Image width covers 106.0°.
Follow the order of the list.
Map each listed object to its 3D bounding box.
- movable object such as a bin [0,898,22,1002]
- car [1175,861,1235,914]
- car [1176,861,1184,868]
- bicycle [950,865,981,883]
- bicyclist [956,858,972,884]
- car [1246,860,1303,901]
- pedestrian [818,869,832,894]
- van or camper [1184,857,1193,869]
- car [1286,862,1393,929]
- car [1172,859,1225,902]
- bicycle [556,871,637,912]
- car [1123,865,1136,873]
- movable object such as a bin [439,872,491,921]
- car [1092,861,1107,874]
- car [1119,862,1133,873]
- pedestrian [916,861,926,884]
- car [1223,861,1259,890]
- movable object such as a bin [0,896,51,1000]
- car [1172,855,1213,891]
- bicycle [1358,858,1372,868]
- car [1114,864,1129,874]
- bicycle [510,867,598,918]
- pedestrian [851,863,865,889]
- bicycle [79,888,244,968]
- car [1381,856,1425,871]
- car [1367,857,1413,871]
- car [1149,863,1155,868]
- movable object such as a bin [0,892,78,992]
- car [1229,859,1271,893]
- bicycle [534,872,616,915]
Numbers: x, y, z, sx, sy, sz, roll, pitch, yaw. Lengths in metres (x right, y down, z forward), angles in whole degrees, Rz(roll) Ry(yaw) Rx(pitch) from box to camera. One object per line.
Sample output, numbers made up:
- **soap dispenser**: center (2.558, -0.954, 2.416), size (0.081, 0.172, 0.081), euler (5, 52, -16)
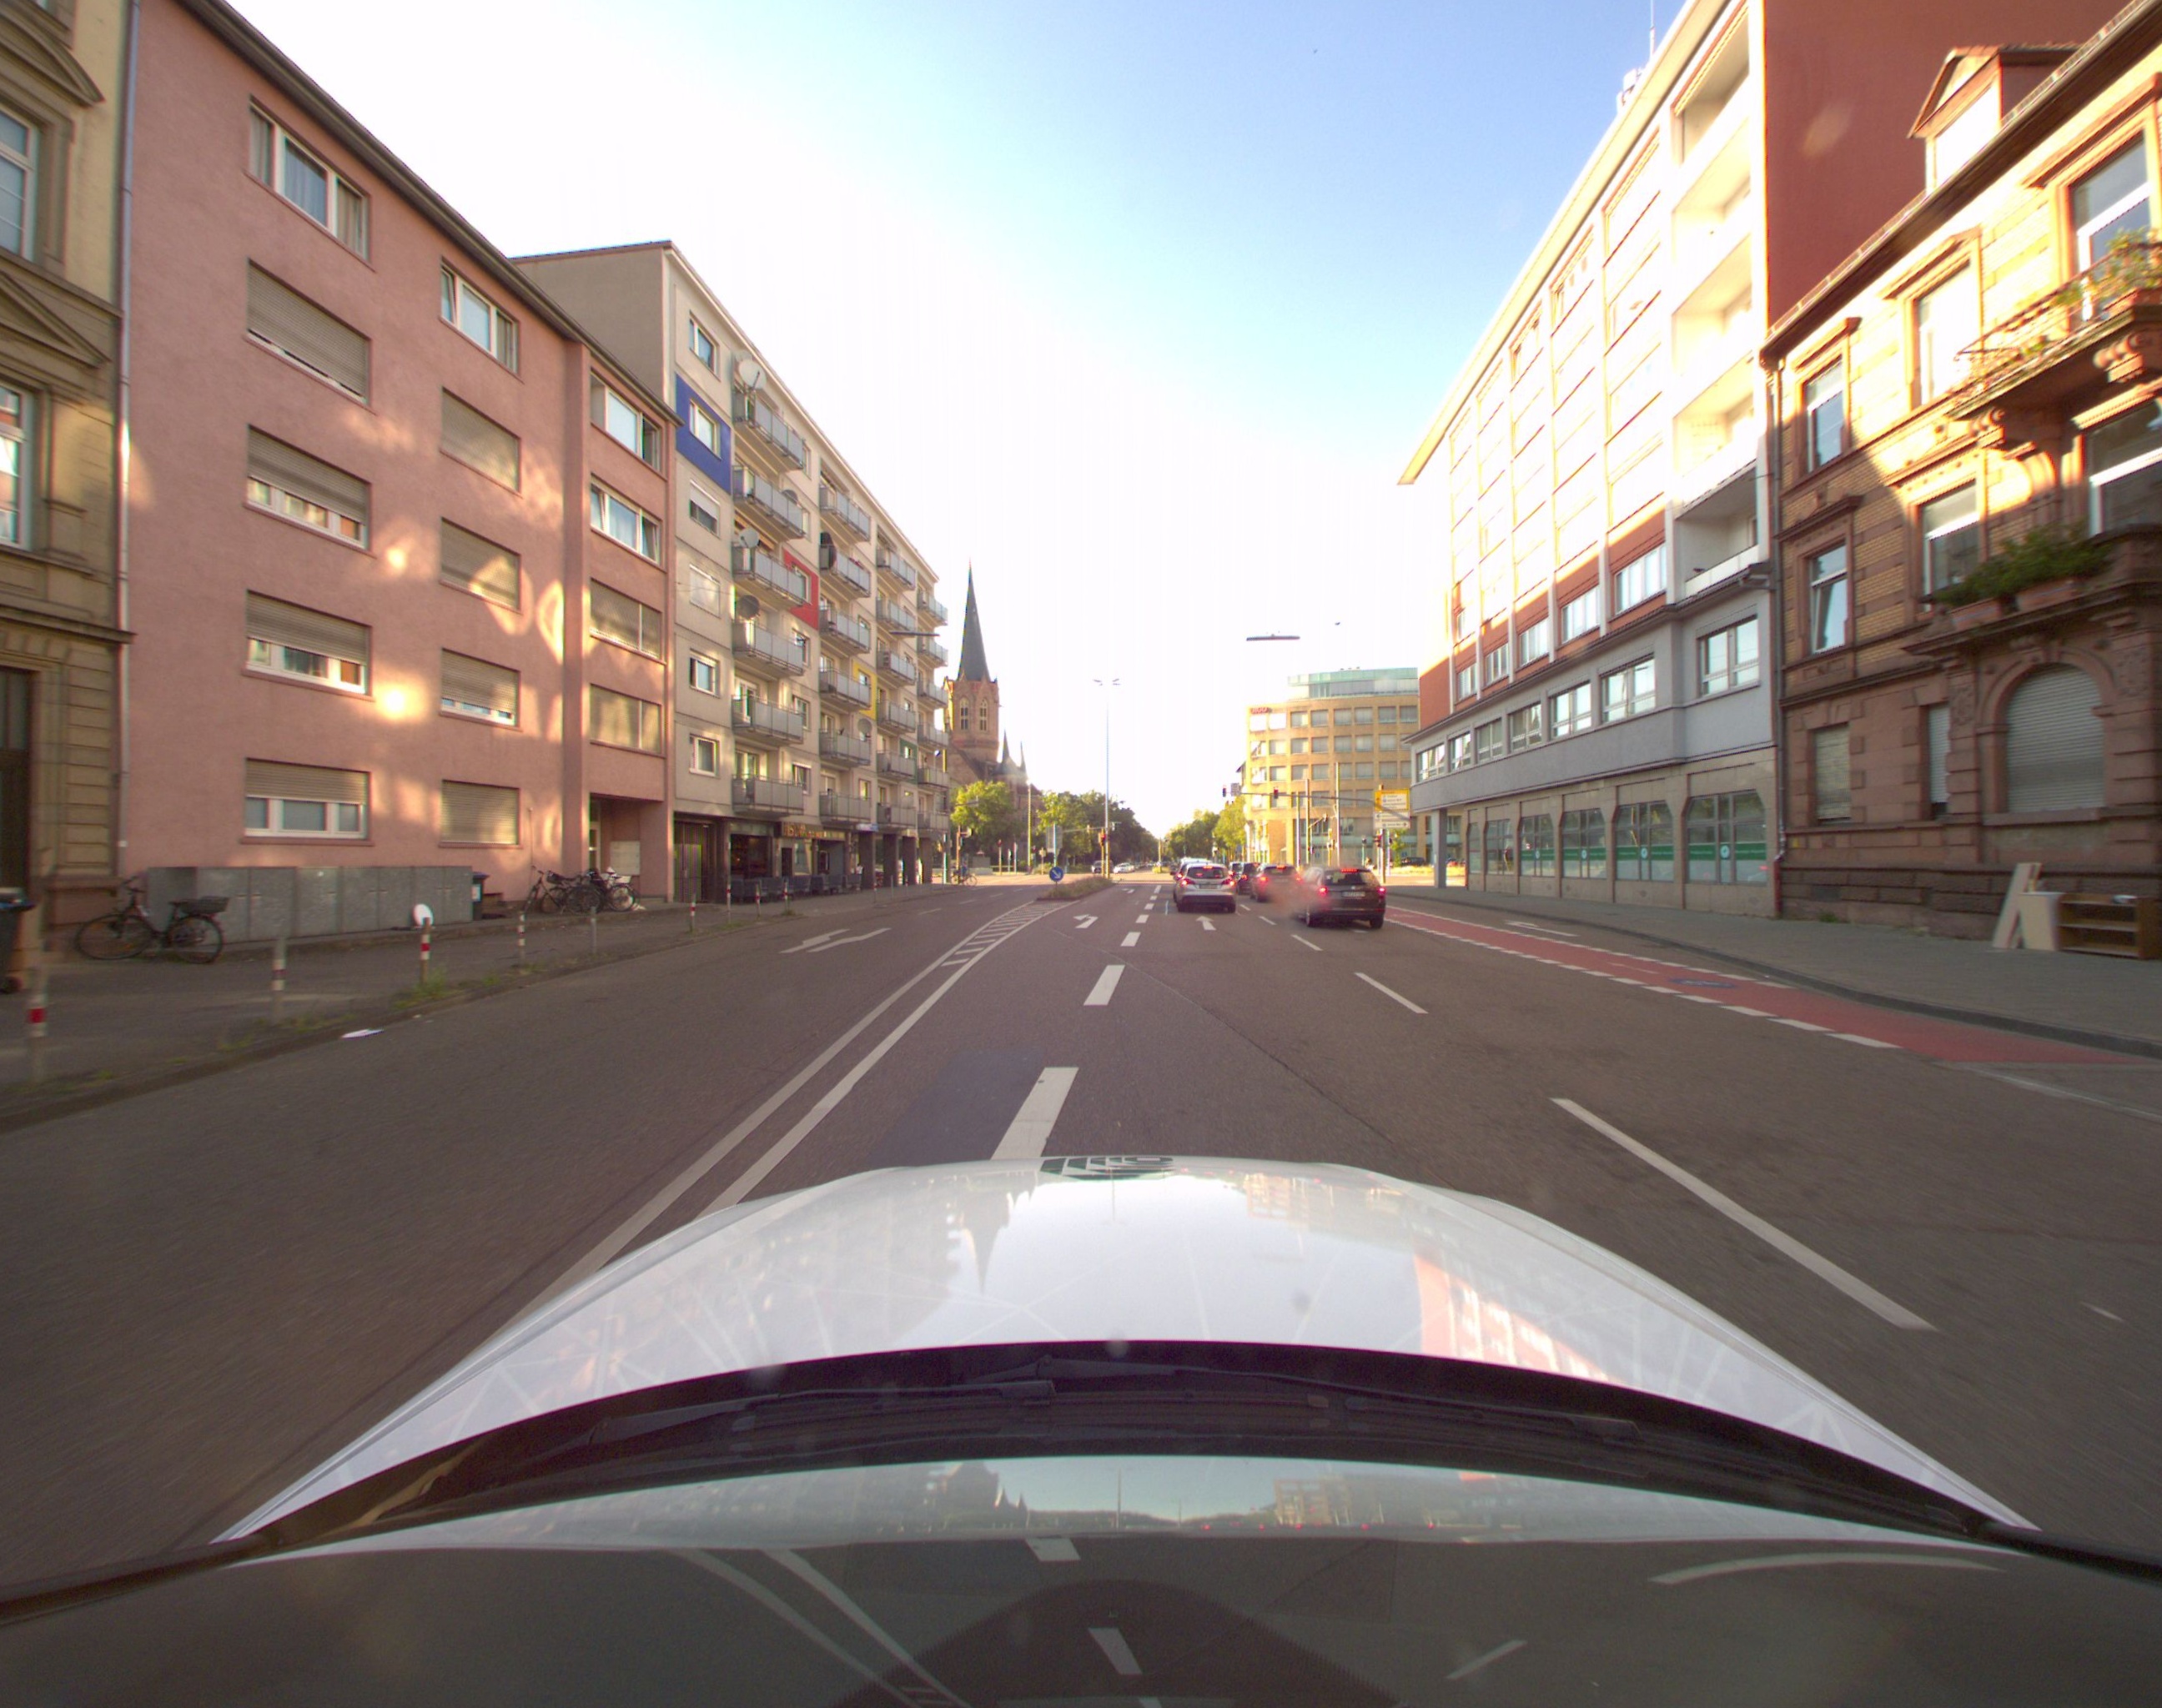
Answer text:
- **movable object such as a bin**: center (-11.791, 1.020, 8.510), size (0.643, 1.111, 0.579), euler (2, -2, -25)
- **car**: center (3.859, 0.981, 25.849), size (1.699, 1.510, 4.316), euler (0, 0, 6)
- **car**: center (26.648, 2.824, 219.881), size (1.985, 1.592, 4.003), euler (-1, 0, 3)
- **bicycle**: center (-7.509, 1.300, 52.965), size (1.819, 1.188, 0.735), euler (-1, -1, 4)
- **bicyclist**: center (-7.660, 1.089, 53.366), size (0.778, 1.660, 0.902), euler (-1, -1, 5)
- **car**: center (7.529, 0.989, 31.990), size (1.642, 1.484, 4.246), euler (0, 0, 6)
- **pedestrian**: center (-12.225, 1.304, 38.878), size (0.524, 1.203, 0.548), euler (0, -1, -26)
- **van or camper**: center (24.876, 2.134, 189.021), size (1.982, 2.640, 5.361), euler (-1, 0, 8)
- **car**: center (6.220, 0.933, 20.037), size (1.699, 1.457, 4.165), euler (-1, 0, 6)
- **car**: center (4.498, 0.987, 31.613), size (1.795, 1.568, 3.623), euler (-1, 0, 5)
- **bicycle**: center (-12.490, 0.959, 21.036), size (1.669, 1.041, 0.548), euler (1, -1, -9)
- **car**: center (7.428, 2.248, 124.385), size (1.771, 1.236, 4.007), euler (-1, 0, 7)
- **movable object such as a bin**: center (-13.476, 0.928, 17.826), size (0.671, 1.032, 0.590), euler (-1, -1, 5)
- **car**: center (2.540, 1.832, 111.483), size (1.771, 1.647, 4.007), euler (-1, 0, 7)
- **car**: center (6.470, 1.970, 117.164), size (1.771, 1.464, 4.007), euler (-1, 0, 7)
- **pedestrian**: center (-11.678, 1.335, 59.413), size (0.464, 1.642, 0.580), euler (-1, -1, 26)
- **car**: center (8.493, 1.108, 43.501), size (1.577, 1.447, 3.653), euler (1, 0, 6)
- **movable object such as a bin**: center (-12.115, 1.029, 9.018), size (0.643, 1.111, 0.579), euler (2, -2, -25)
- **car**: center (5.383, 0.887, 39.599), size (1.775, 1.632, 4.485), euler (-1, 0, 5)
- **bicycle**: center (33.470, 1.027, 95.887), size (1.509, 1.172, 0.476), euler (-1, -1, 12)
- **car**: center (5.485, 2.044, 110.642), size (1.771, 1.236, 4.007), euler (-1, 0, 7)
- **bicycle**: center (-12.525, 0.909, 19.396), size (1.675, 1.160, 0.493), euler (1, -1, -21)
- **pedestrian**: center (-11.852, 1.181, 43.291), size (0.479, 1.384, 0.484), euler (-1, -1, 26)
- **bicycle**: center (-13.308, 1.057, 11.809), size (1.641, 0.967, 0.663), euler (5, 0, 4)
- **car**: center (35.762, 1.034, 90.654), size (4.205, 1.614, 2.004), euler (-1, -1, 7)
- **car**: center (35.618, 1.156, 93.876), size (4.627, 1.598, 2.002), euler (-1, -1, 3)
- **car**: center (22.549, 3.587, 257.622), size (1.771, 1.449, 4.007), euler (-1, 0, 7)
- **movable object such as a bin**: center (-12.481, 1.020, 9.568), size (0.643, 1.111, 0.579), euler (2, -2, -25)
- **car**: center (7.846, 0.989, 37.993), size (1.482, 1.505, 3.483), euler (-1, -1, 5)
- **bicycle**: center (-12.538, 0.969, 20.206), size (1.665, 1.041, 0.549), euler (1, -1, -2)
